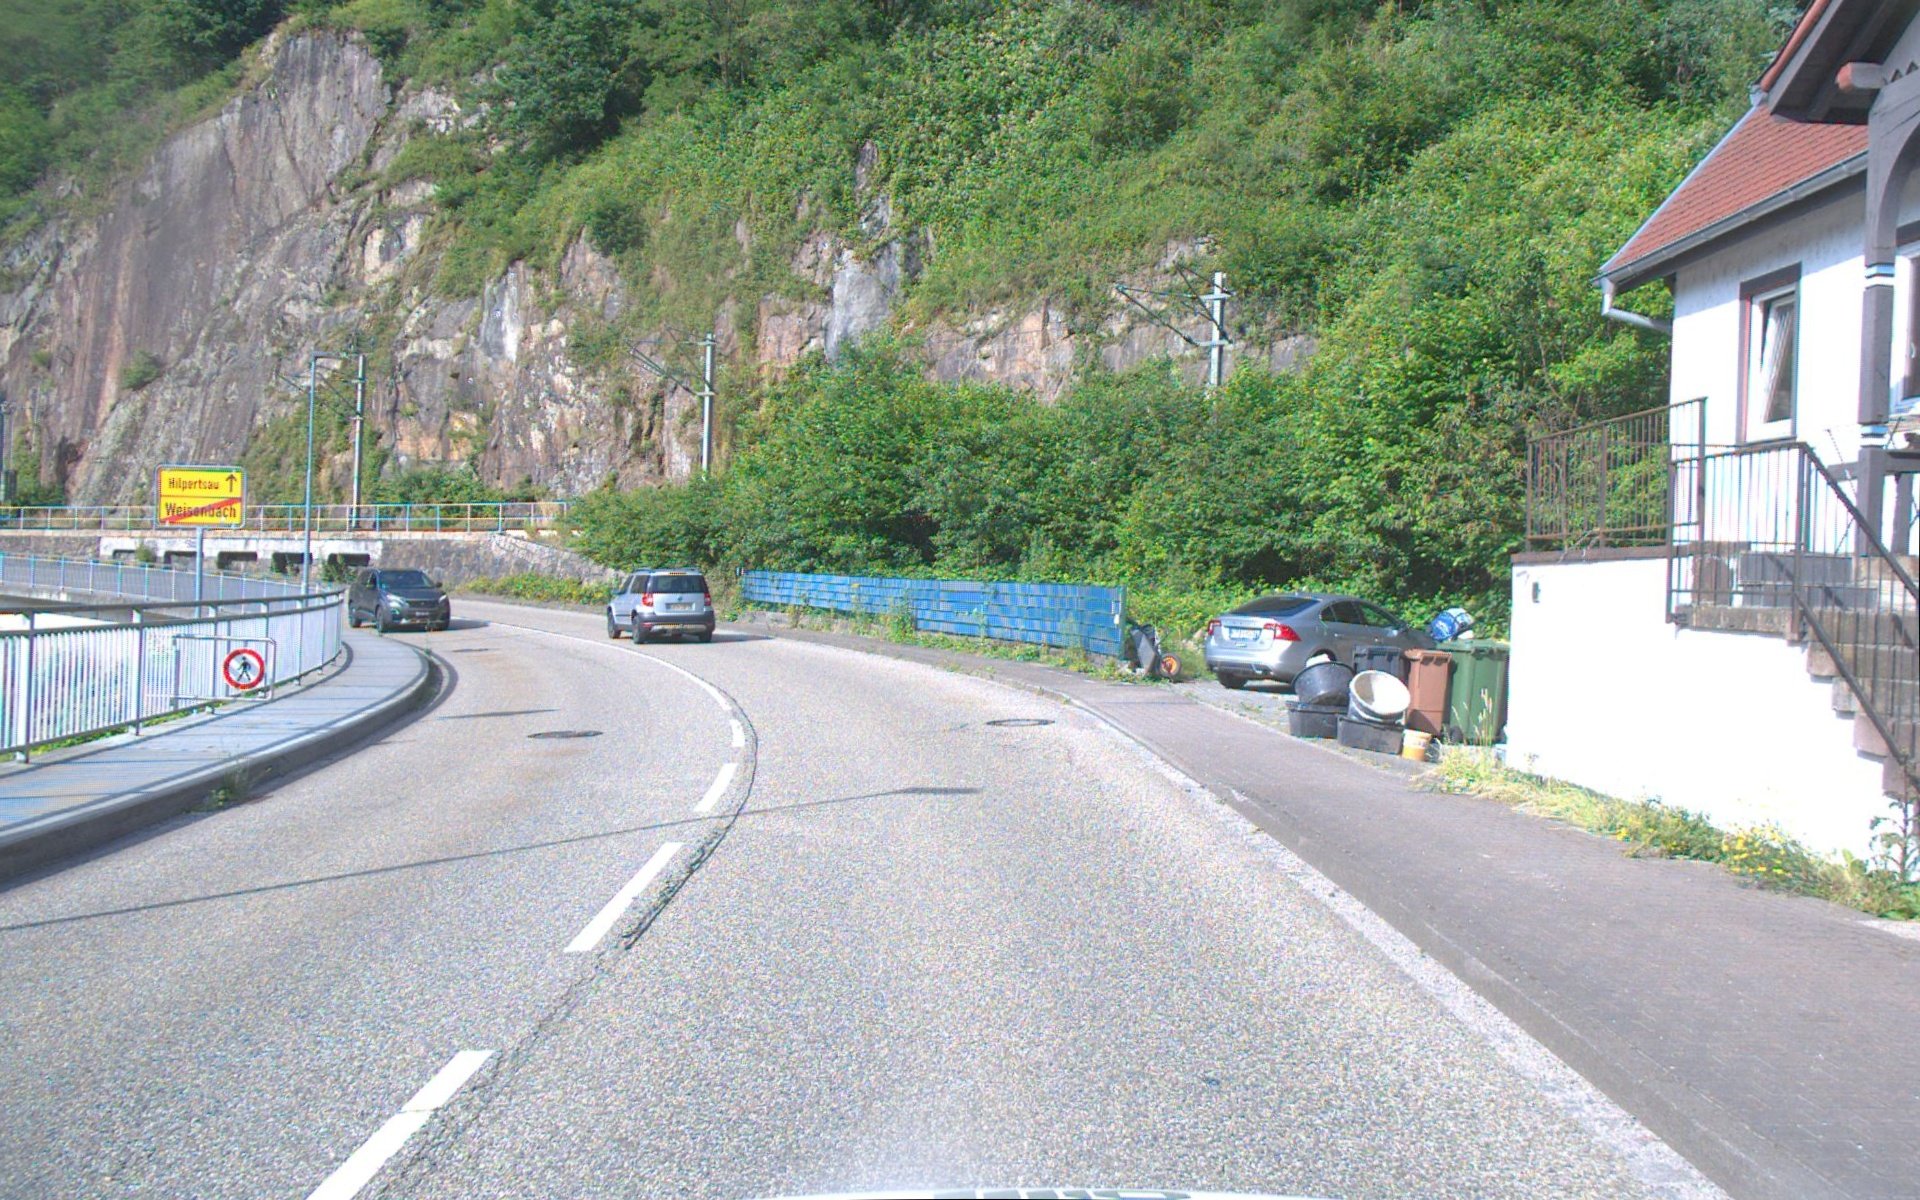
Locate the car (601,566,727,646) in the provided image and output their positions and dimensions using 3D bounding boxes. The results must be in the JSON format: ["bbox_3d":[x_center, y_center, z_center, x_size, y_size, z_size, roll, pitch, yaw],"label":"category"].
[{"bbox_3d":[-6.883,0.084,38.127,1.850,1.684,3.967,-1,2,-26],"label":"car"}]

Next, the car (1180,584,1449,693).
[{"bbox_3d":[5.385,0.575,24.801,4.293,1.495,1.809,2,-1,-42],"label":"car"}]

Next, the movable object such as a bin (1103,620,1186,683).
[{"bbox_3d":[2.891,0.785,26.143,0.838,0.862,2.536,3,0,-4],"label":"movable object such as a bin"}]

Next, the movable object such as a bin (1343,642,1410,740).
[{"bbox_3d":[4.313,0.935,17.161,0.462,0.953,0.652,2,0,-4],"label":"movable object such as a bin"}]

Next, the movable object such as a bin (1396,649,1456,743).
[{"bbox_3d":[4.802,0.981,17.055,0.361,0.915,0.546,2,0,-10],"label":"movable object such as a bin"}]

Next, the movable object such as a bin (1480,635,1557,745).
[{"bbox_3d":[5.808,0.927,17.219,0.468,1.081,0.752,2,0,-4],"label":"movable object such as a bin"}]

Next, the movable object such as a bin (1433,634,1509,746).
[{"bbox_3d":[5.252,0.914,17.034,0.468,1.081,0.752,2,0,-4],"label":"movable object such as a bin"}]

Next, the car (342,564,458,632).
[{"bbox_3d":[-15.204,-0.096,44.774,1.802,1.671,3.947,-3,3,-37],"label":"car"}]
